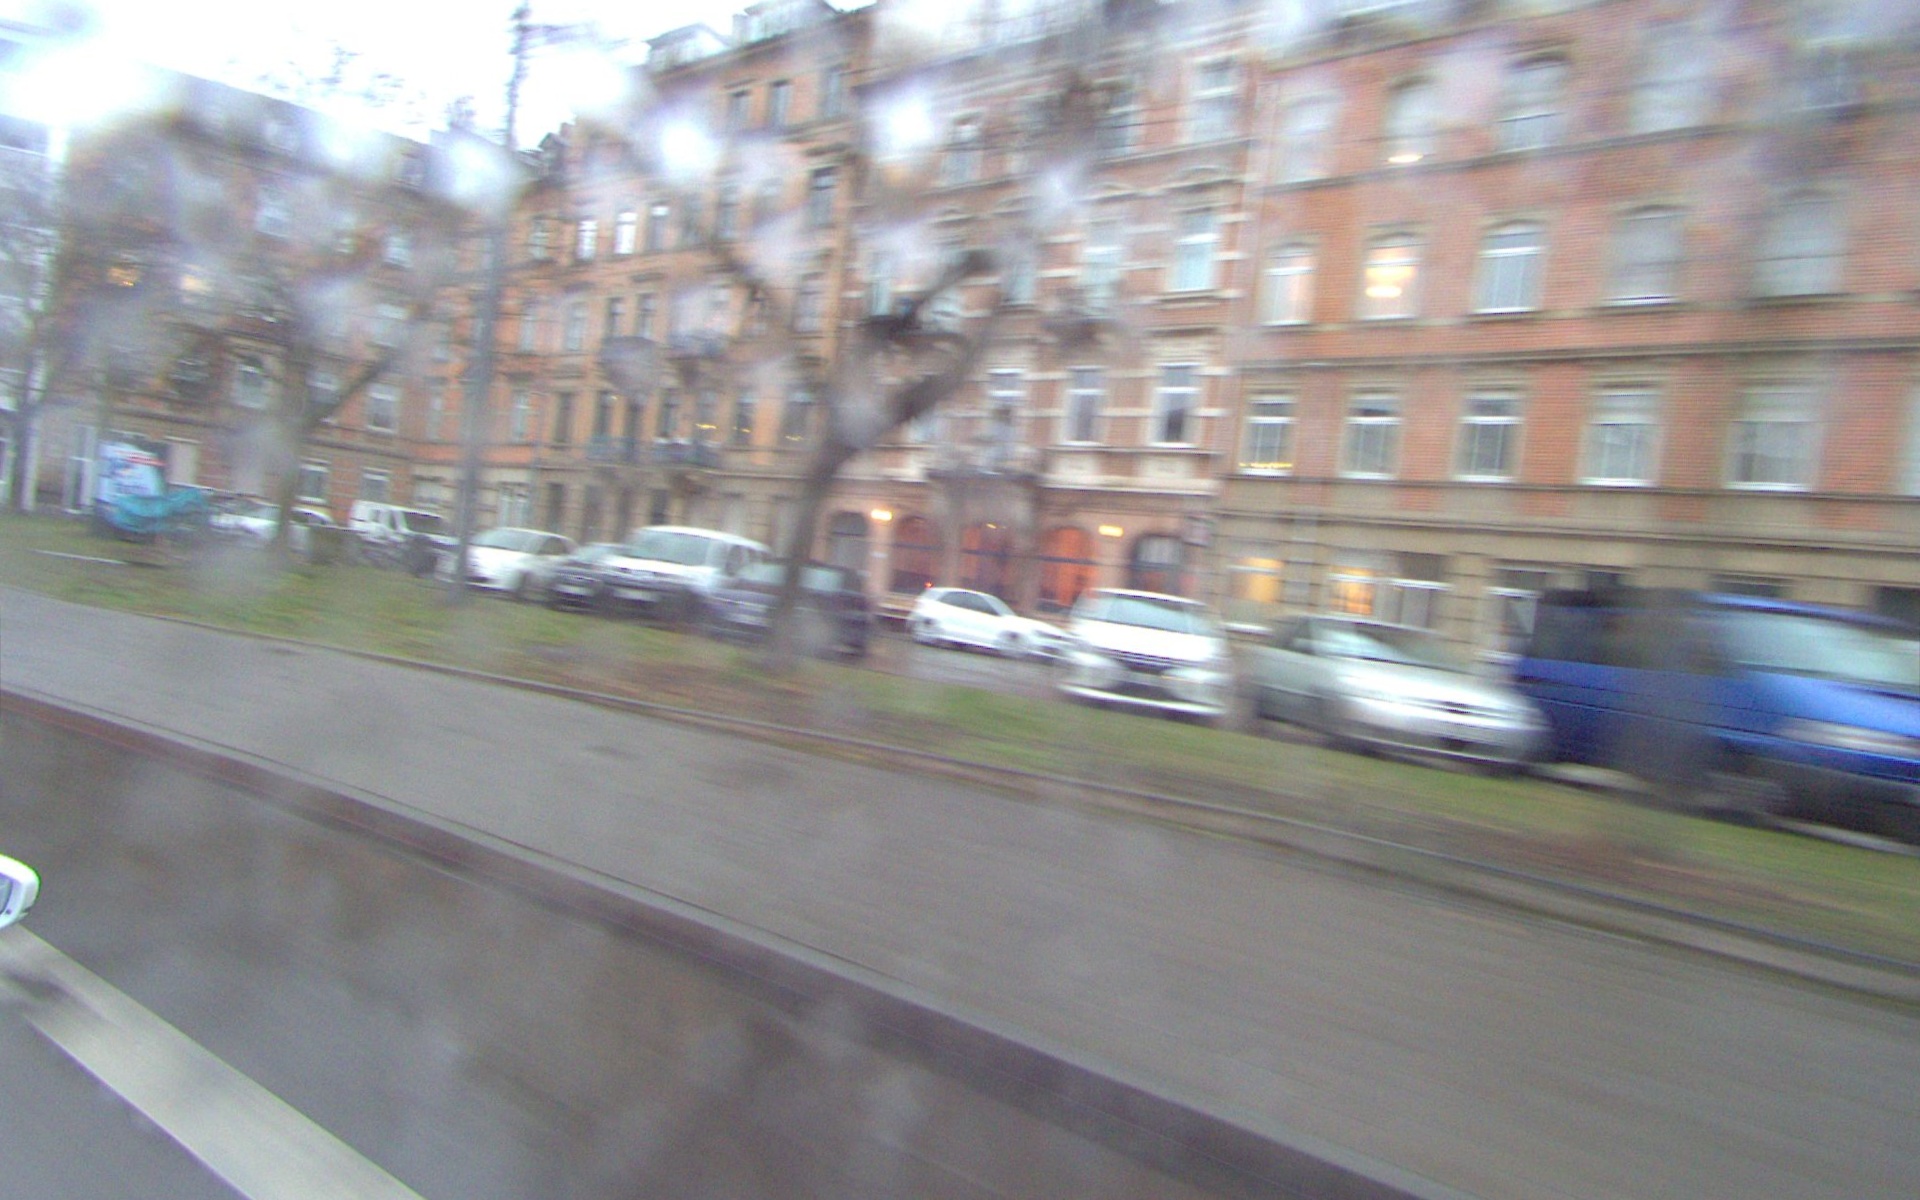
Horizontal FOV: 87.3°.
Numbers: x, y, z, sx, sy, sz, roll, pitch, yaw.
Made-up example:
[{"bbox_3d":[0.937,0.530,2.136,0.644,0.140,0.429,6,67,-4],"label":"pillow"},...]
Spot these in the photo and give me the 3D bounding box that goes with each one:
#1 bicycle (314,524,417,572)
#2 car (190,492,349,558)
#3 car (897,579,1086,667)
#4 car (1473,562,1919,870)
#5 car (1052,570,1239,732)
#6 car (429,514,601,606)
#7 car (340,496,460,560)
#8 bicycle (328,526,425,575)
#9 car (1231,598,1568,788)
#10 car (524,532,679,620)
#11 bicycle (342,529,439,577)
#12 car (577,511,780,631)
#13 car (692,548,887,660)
[{"bbox_3d":[-14.940,-1.295,25.358,0.615,0.978,2.166,7,1,29],"label":"bicycle"},{"bbox_3d":[-19.257,-2.045,28.284,1.667,1.353,3.857,7,0,0],"label":"car"},{"bbox_3d":[0.715,0.529,23.620,3.985,1.519,1.734,7,-1,33],"label":"car"},{"bbox_3d":[6.879,0.915,9.109,1.766,2.006,4.723,8,-1,-1],"label":"car"},{"bbox_3d":[2.185,0.623,12.172,1.728,1.449,3.780,7,-2,10],"label":"car"},{"bbox_3d":[-9.173,-0.769,21.043,1.583,1.460,3.470,7,-1,7],"label":"car"},{"bbox_3d":[-22.461,-2.912,40.296,4.904,2.040,1.994,7,2,32],"label":"car"},{"bbox_3d":[-15.744,-1.323,27.214,0.615,0.977,2.168,10,0,29],"label":"bicycle"},{"bbox_3d":[4.313,0.876,10.637,1.611,1.431,4.002,7,-2,-1],"label":"car"},{"bbox_3d":[-6.889,-0.418,19.698,1.633,1.367,3.433,7,0,1],"label":"car"},{"bbox_3d":[-15.196,-1.237,26.907,0.615,0.977,2.168,10,0,29],"label":"bicycle"},{"bbox_3d":[-4.647,-0.486,17.417,1.744,1.613,4.661,6,2,4],"label":"car"},{"bbox_3d":[-2.422,-0.008,15.380,1.737,1.251,4.060,8,3,7],"label":"car"}]
